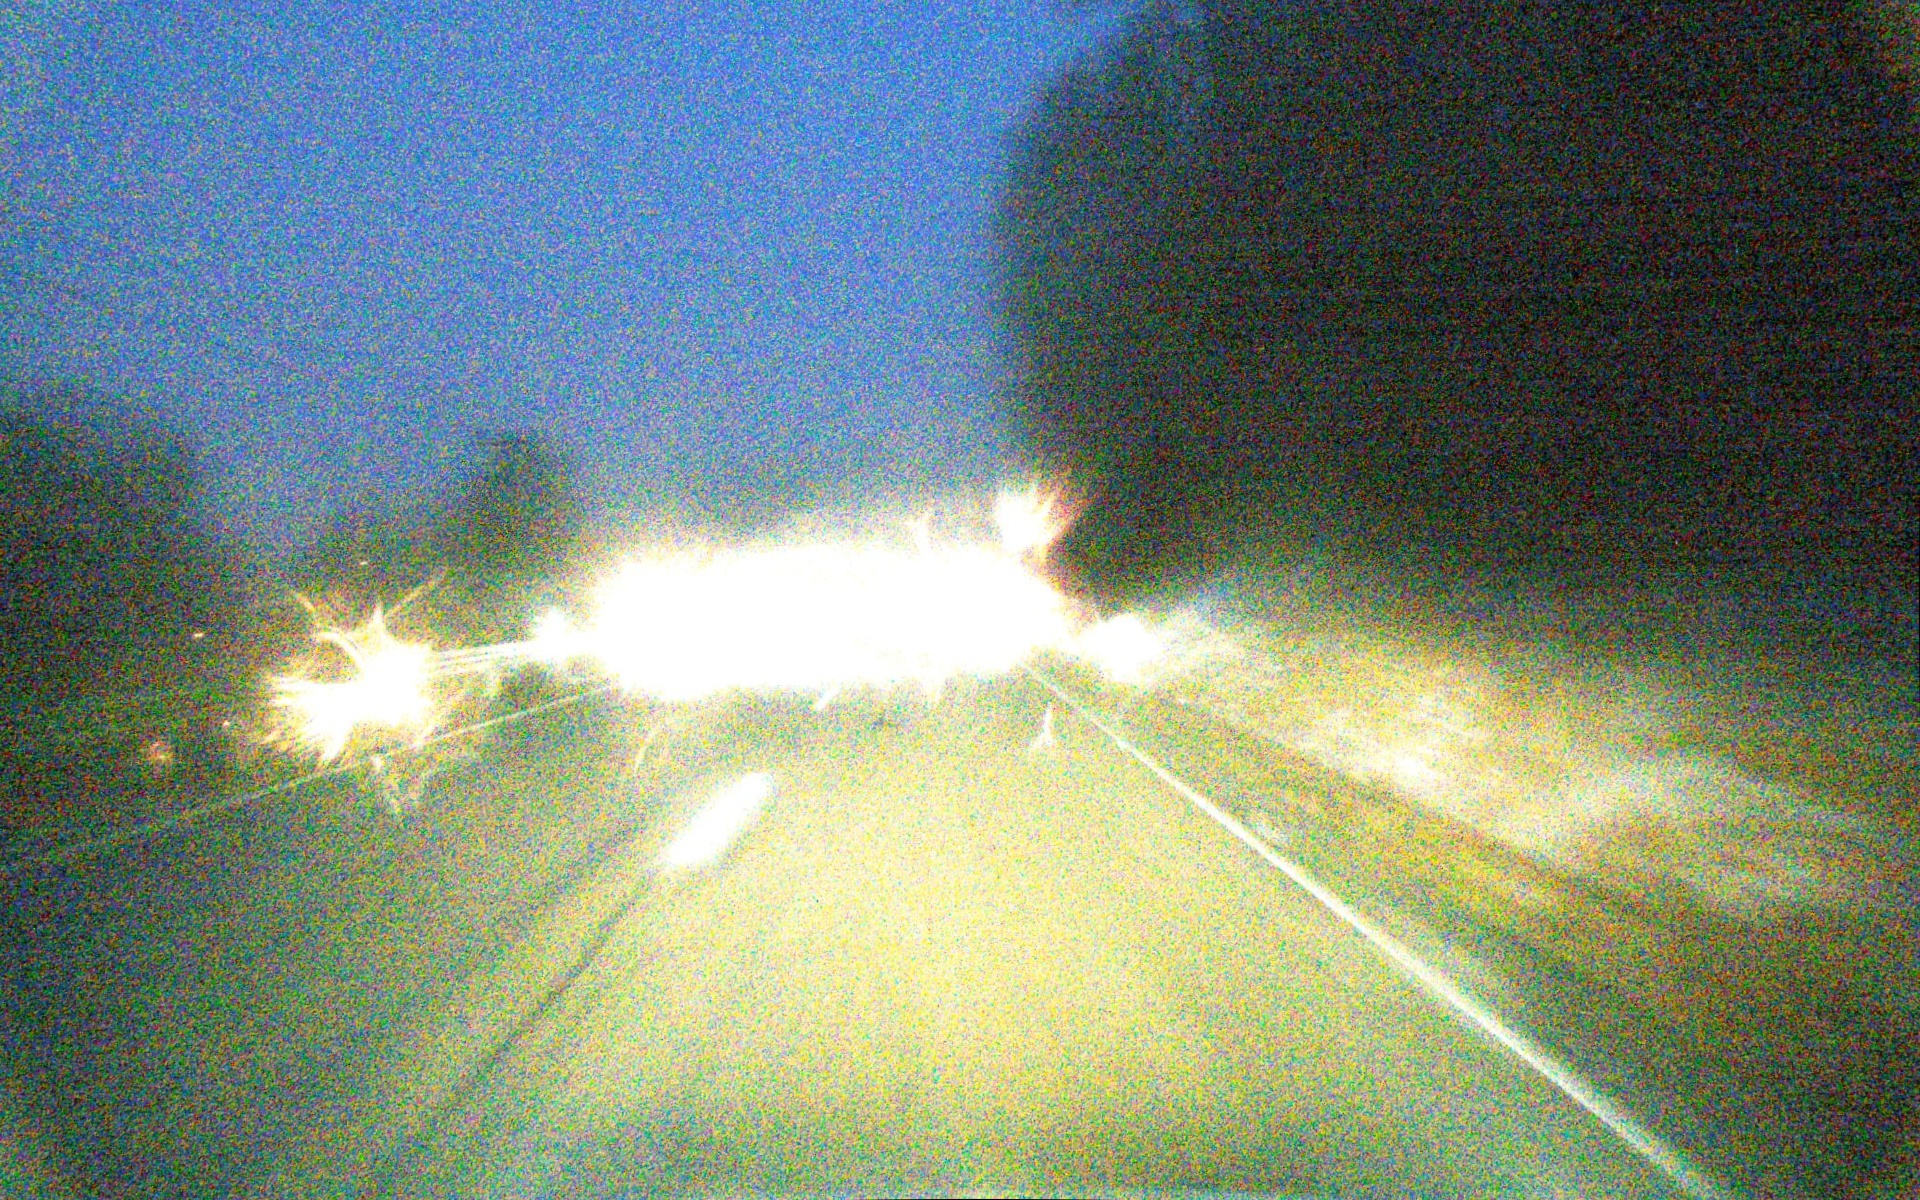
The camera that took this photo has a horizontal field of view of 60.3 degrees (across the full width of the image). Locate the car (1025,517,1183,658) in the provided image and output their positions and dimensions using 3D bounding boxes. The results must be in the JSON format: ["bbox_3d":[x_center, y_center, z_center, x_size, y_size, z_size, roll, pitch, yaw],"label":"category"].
[{"bbox_3d":[2.241,-0.118,26.929,2.152,2.049,4.206,1,-2,0],"label":"car"}]
